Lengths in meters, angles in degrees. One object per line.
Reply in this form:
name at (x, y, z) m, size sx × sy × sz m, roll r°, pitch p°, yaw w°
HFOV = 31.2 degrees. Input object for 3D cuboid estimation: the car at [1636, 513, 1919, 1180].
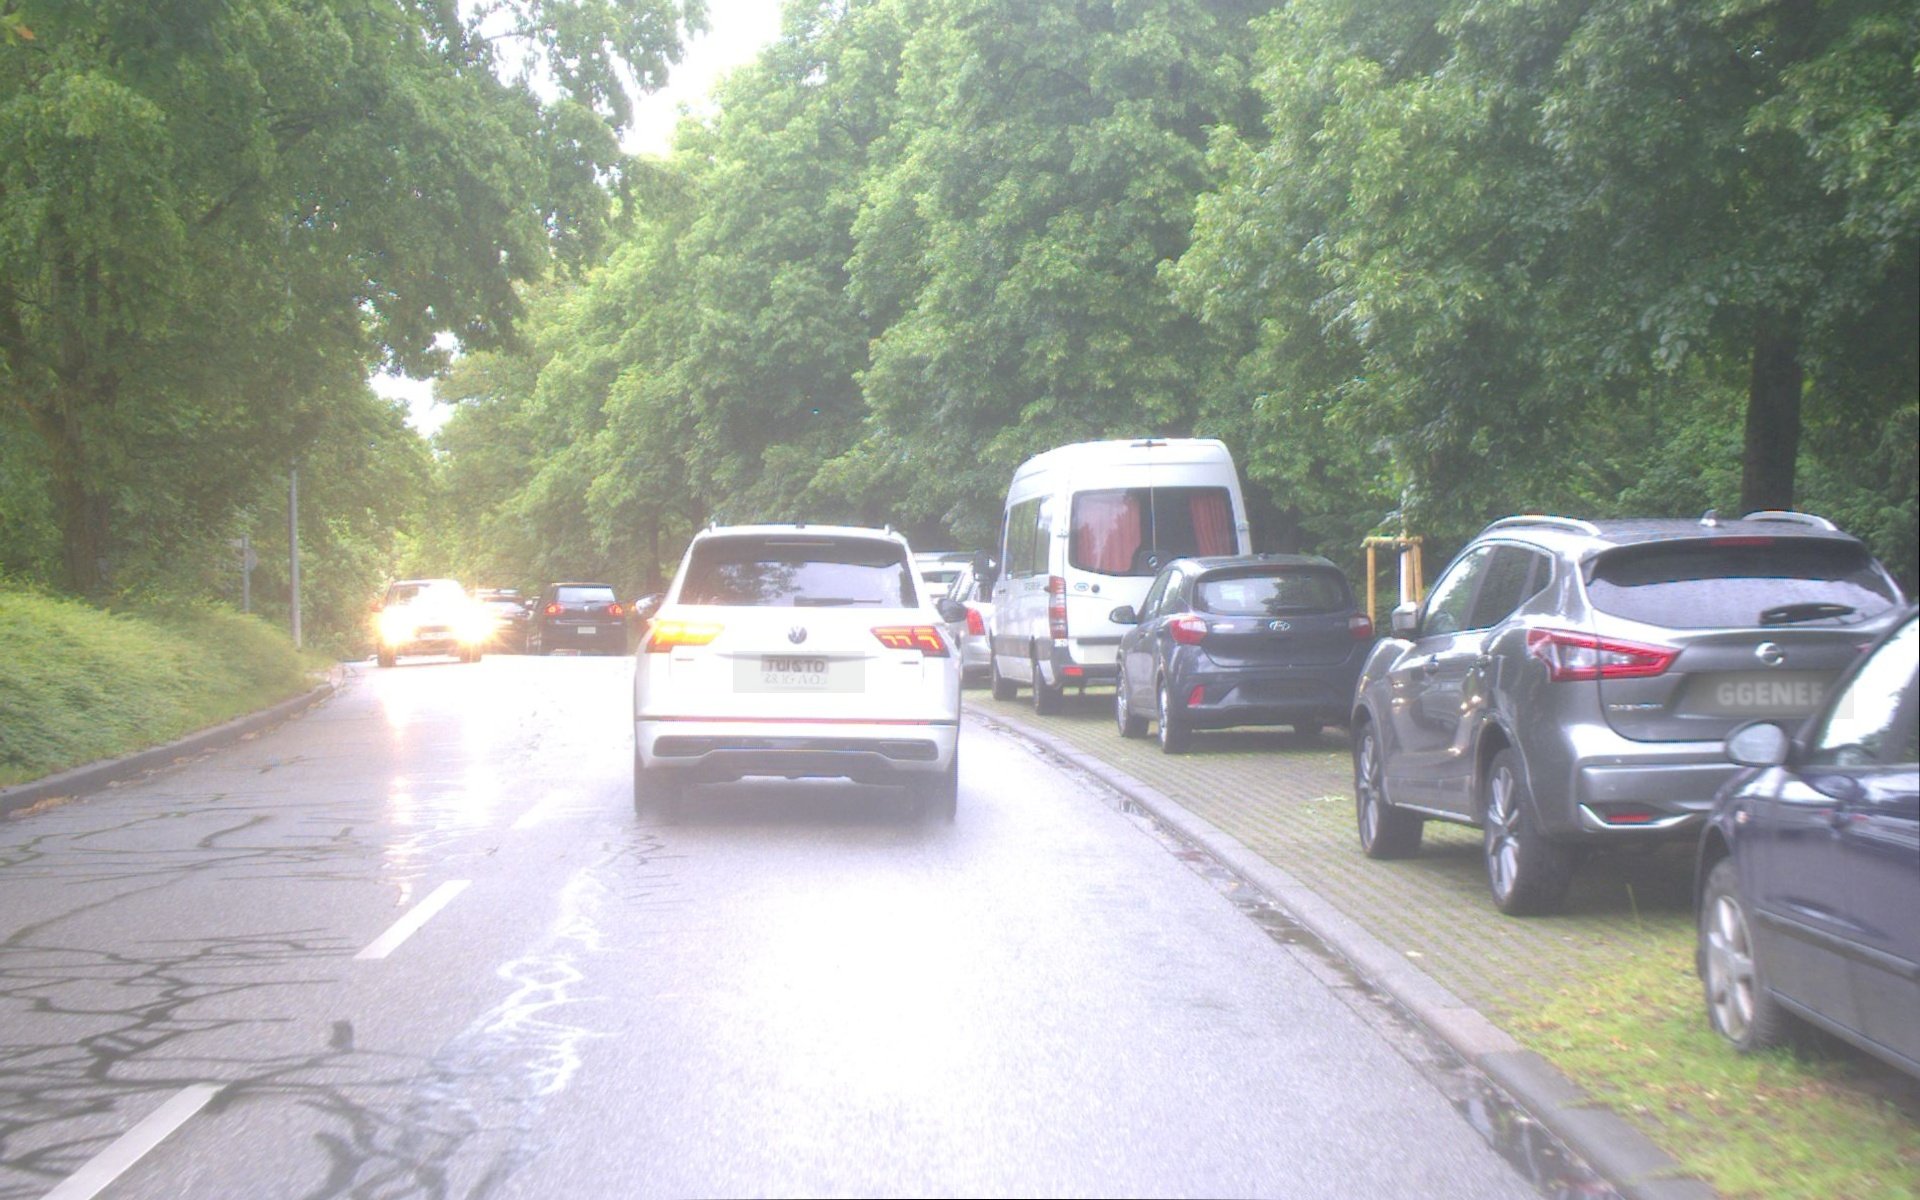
car at (2.956, 0.502, 8.552) m, size 1.743 × 1.447 × 4.000 m, roll -1°, pitch 1°, yaw 0°

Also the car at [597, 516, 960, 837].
car at (-1.082, 0.357, 20.400) m, size 1.905 × 1.679 × 4.201 m, roll -1°, pitch 1°, yaw -3°

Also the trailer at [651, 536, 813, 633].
trailer at (-4.779, -0.284, 71.069) m, size 2.448 × 1.807 × 5.893 m, roll -1°, pitch -1°, yaw -13°

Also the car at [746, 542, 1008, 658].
car at (-1.326, 0.011, 53.952) m, size 4.003 × 1.675 × 1.608 m, roll -2°, pitch 0°, yaw 40°

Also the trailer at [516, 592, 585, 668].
trailer at (-12.167, 0.912, 101.981) m, size 1.529 × 2.069 × 4.000 m, roll -2°, pitch -2°, yaw -13°

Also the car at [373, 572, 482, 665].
car at (-9.333, 0.302, 60.500) m, size 1.665 × 1.472 × 3.733 m, roll -3°, pitch 1°, yaw -6°

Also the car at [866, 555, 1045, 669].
car at (-0.117, 0.132, 48.751) m, size 1.993 × 1.492 × 4.567 m, roll -1°, pitch 1°, yaw -7°

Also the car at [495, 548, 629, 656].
car at (-8.043, -0.001, 69.158) m, size 1.993 × 2.006 × 4.002 m, roll -1°, pitch 2°, yaw -17°

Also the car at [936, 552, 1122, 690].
car at (0.782, 0.208, 41.669) m, size 1.805 × 1.533 × 4.268 m, roll -2°, pitch 1°, yaw -4°

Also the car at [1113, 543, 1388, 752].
car at (2.239, 0.322, 27.370) m, size 1.865 × 1.506 × 3.725 m, roll -1°, pitch 1°, yaw 0°

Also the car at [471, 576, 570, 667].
car at (-10.748, 0.496, 83.925) m, size 1.993 × 2.006 × 4.002 m, roll 0°, pitch 2°, yaw -13°

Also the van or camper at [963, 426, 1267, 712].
van or camper at (1.424, -0.386, 35.738) m, size 2.015 × 2.574 × 8.437 m, roll 1°, pitch 1°, yaw -5°

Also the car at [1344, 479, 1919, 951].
car at (2.805, 0.377, 14.871) m, size 1.781 × 1.713 × 4.262 m, roll -1°, pitch 1°, yaw 0°
